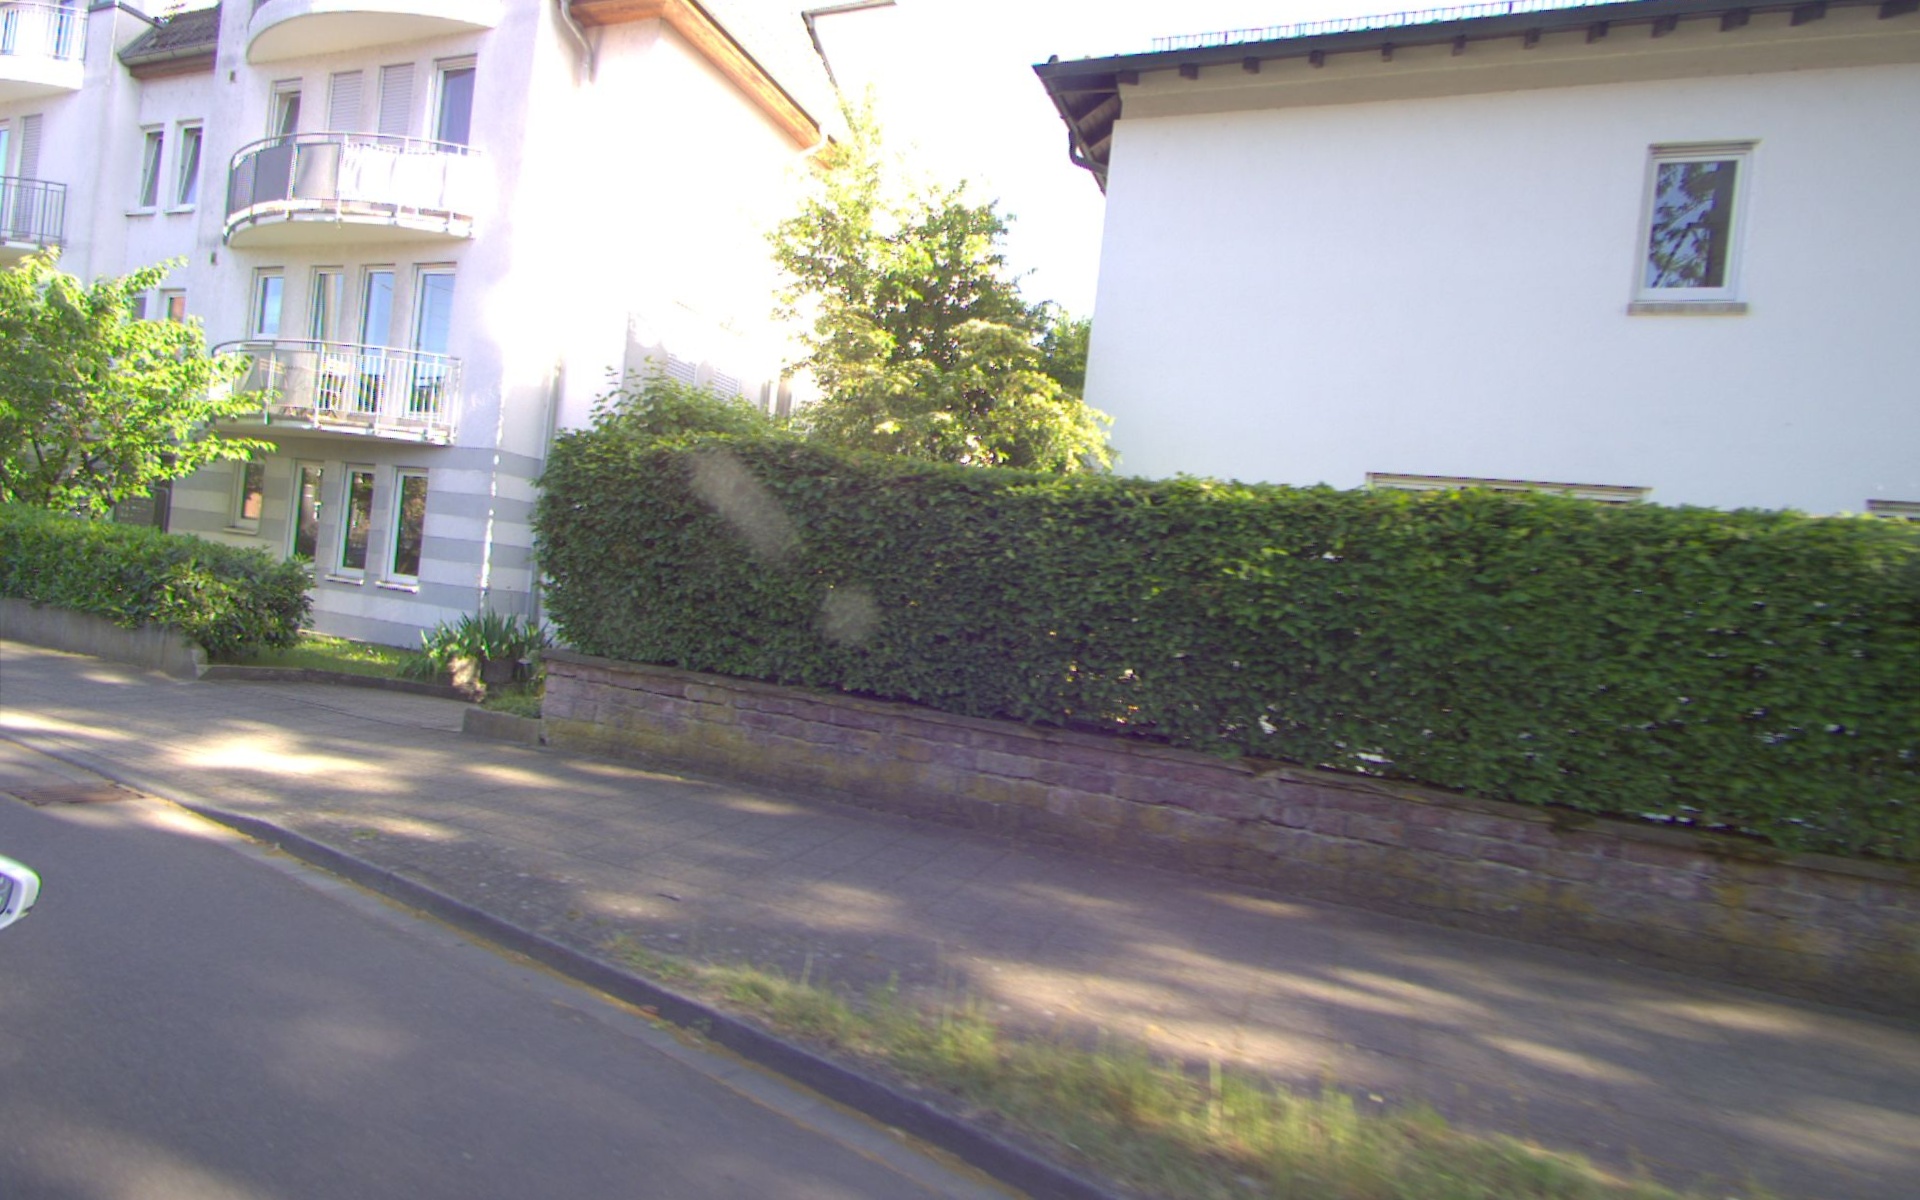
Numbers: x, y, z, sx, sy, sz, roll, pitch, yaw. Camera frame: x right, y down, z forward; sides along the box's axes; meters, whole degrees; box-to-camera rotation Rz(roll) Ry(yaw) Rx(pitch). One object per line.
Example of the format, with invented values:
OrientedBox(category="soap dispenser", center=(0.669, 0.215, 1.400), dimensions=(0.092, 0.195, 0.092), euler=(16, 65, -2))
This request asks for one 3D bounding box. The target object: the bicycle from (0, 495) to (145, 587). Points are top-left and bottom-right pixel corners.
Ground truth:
OrientedBox(category="bicycle", center=(-13.017, -0.832, 14.464), dimensions=(0.810, 1.220, 1.843), euler=(6, 3, 21))
